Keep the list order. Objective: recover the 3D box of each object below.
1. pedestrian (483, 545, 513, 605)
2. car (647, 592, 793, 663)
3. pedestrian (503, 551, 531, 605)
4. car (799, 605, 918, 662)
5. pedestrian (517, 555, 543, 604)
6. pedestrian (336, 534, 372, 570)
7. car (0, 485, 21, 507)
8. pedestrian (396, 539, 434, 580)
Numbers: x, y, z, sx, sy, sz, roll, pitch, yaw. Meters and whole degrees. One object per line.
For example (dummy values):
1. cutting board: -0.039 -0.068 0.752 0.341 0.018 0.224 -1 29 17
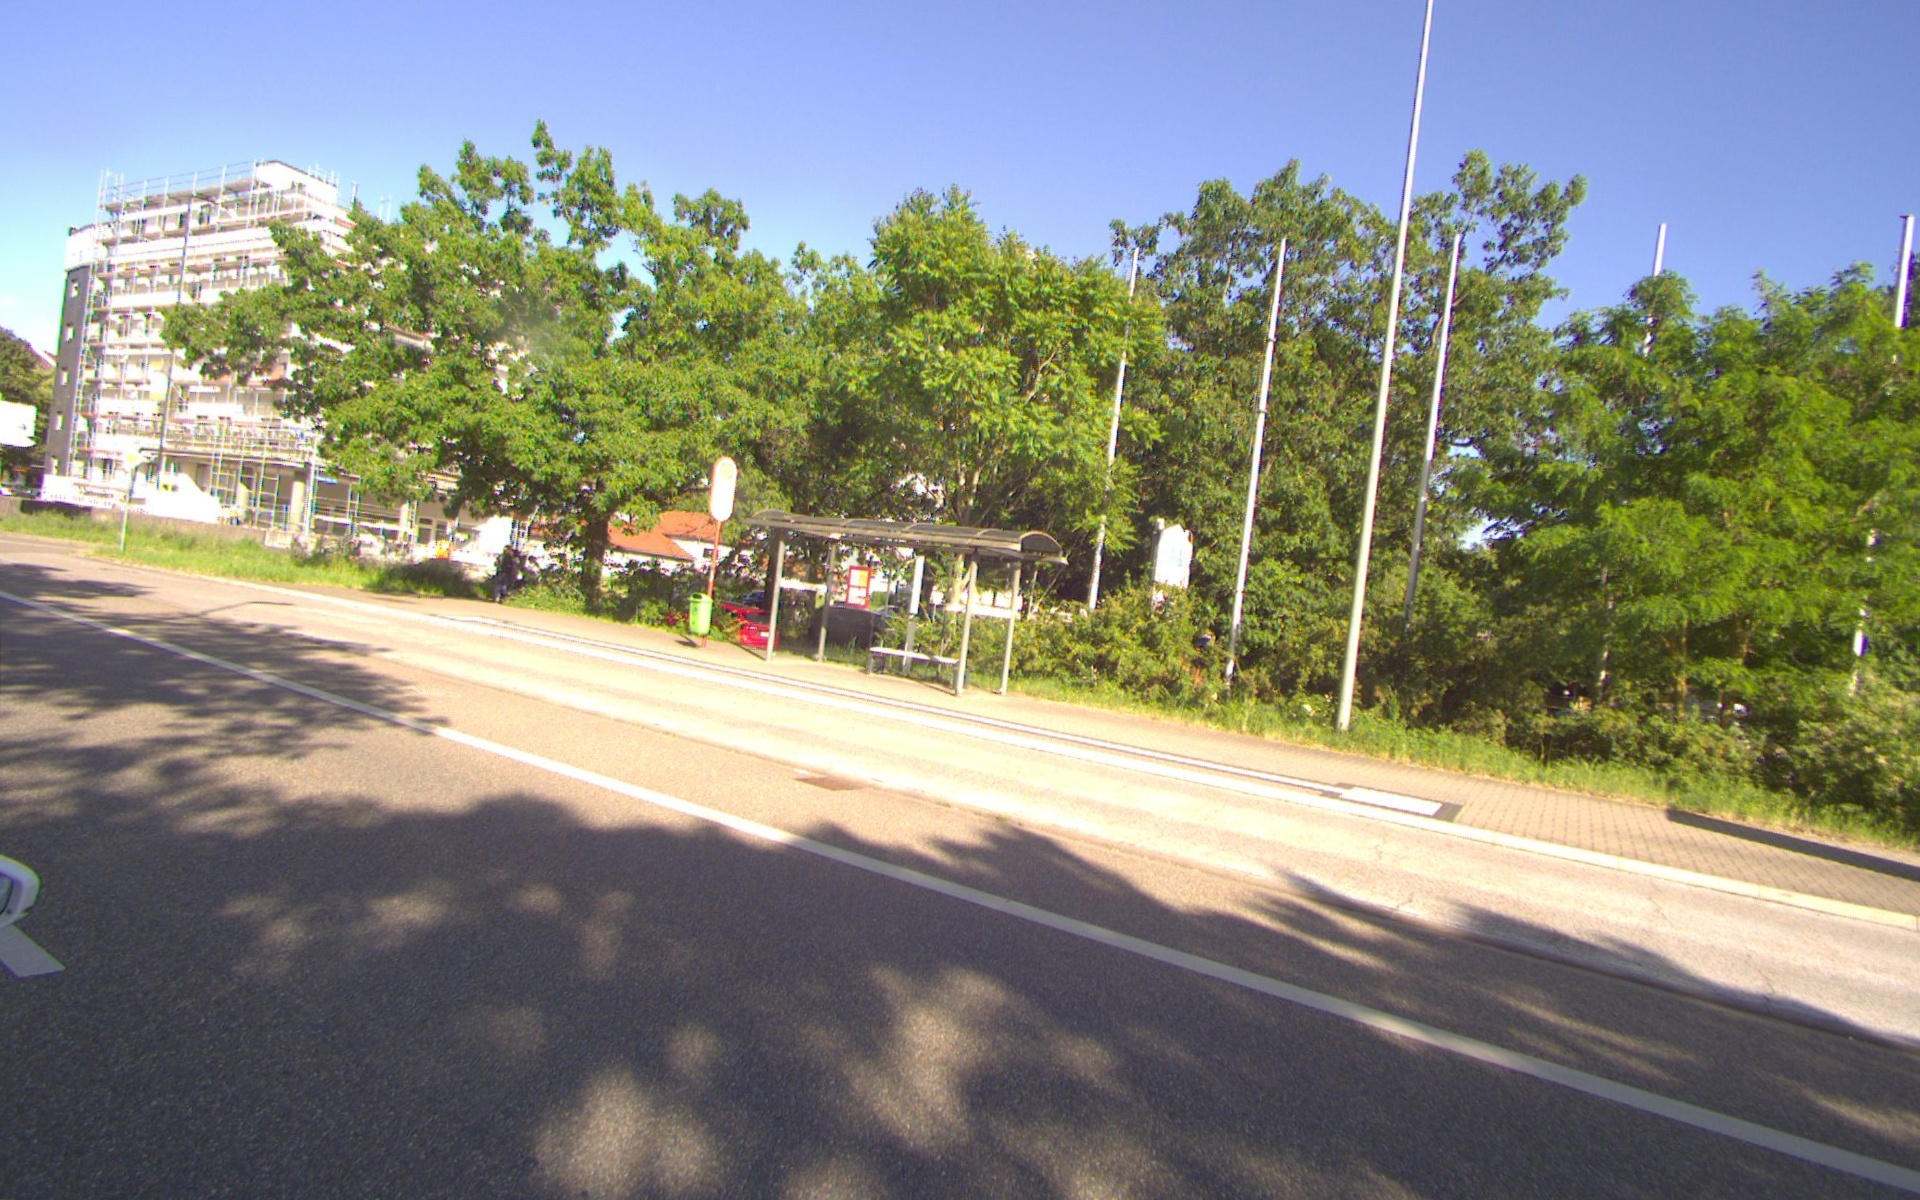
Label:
1. pedestrian: -13.029 -0.707 28.356 0.517 1.632 0.587 7 1 -32
2. car: -6.870 0.793 28.744 3.680 1.504 1.755 7 0 28
3. pedestrian: -12.765 -0.639 28.992 0.517 1.465 0.587 7 1 -32
4. car: -3.586 1.205 35.978 3.674 1.504 1.914 7 0 13
5. pedestrian: -13.398 -0.635 31.326 0.517 1.465 0.587 7 1 -32
6. pedestrian: -27.695 -2.185 45.985 0.948 1.465 0.895 7 0 -3
7. car: -66.546 -7.278 69.990 1.521 1.330 3.250 7 0 -40
8. pedestrian: -24.395 -1.792 45.038 0.969 1.674 0.891 7 0 4
